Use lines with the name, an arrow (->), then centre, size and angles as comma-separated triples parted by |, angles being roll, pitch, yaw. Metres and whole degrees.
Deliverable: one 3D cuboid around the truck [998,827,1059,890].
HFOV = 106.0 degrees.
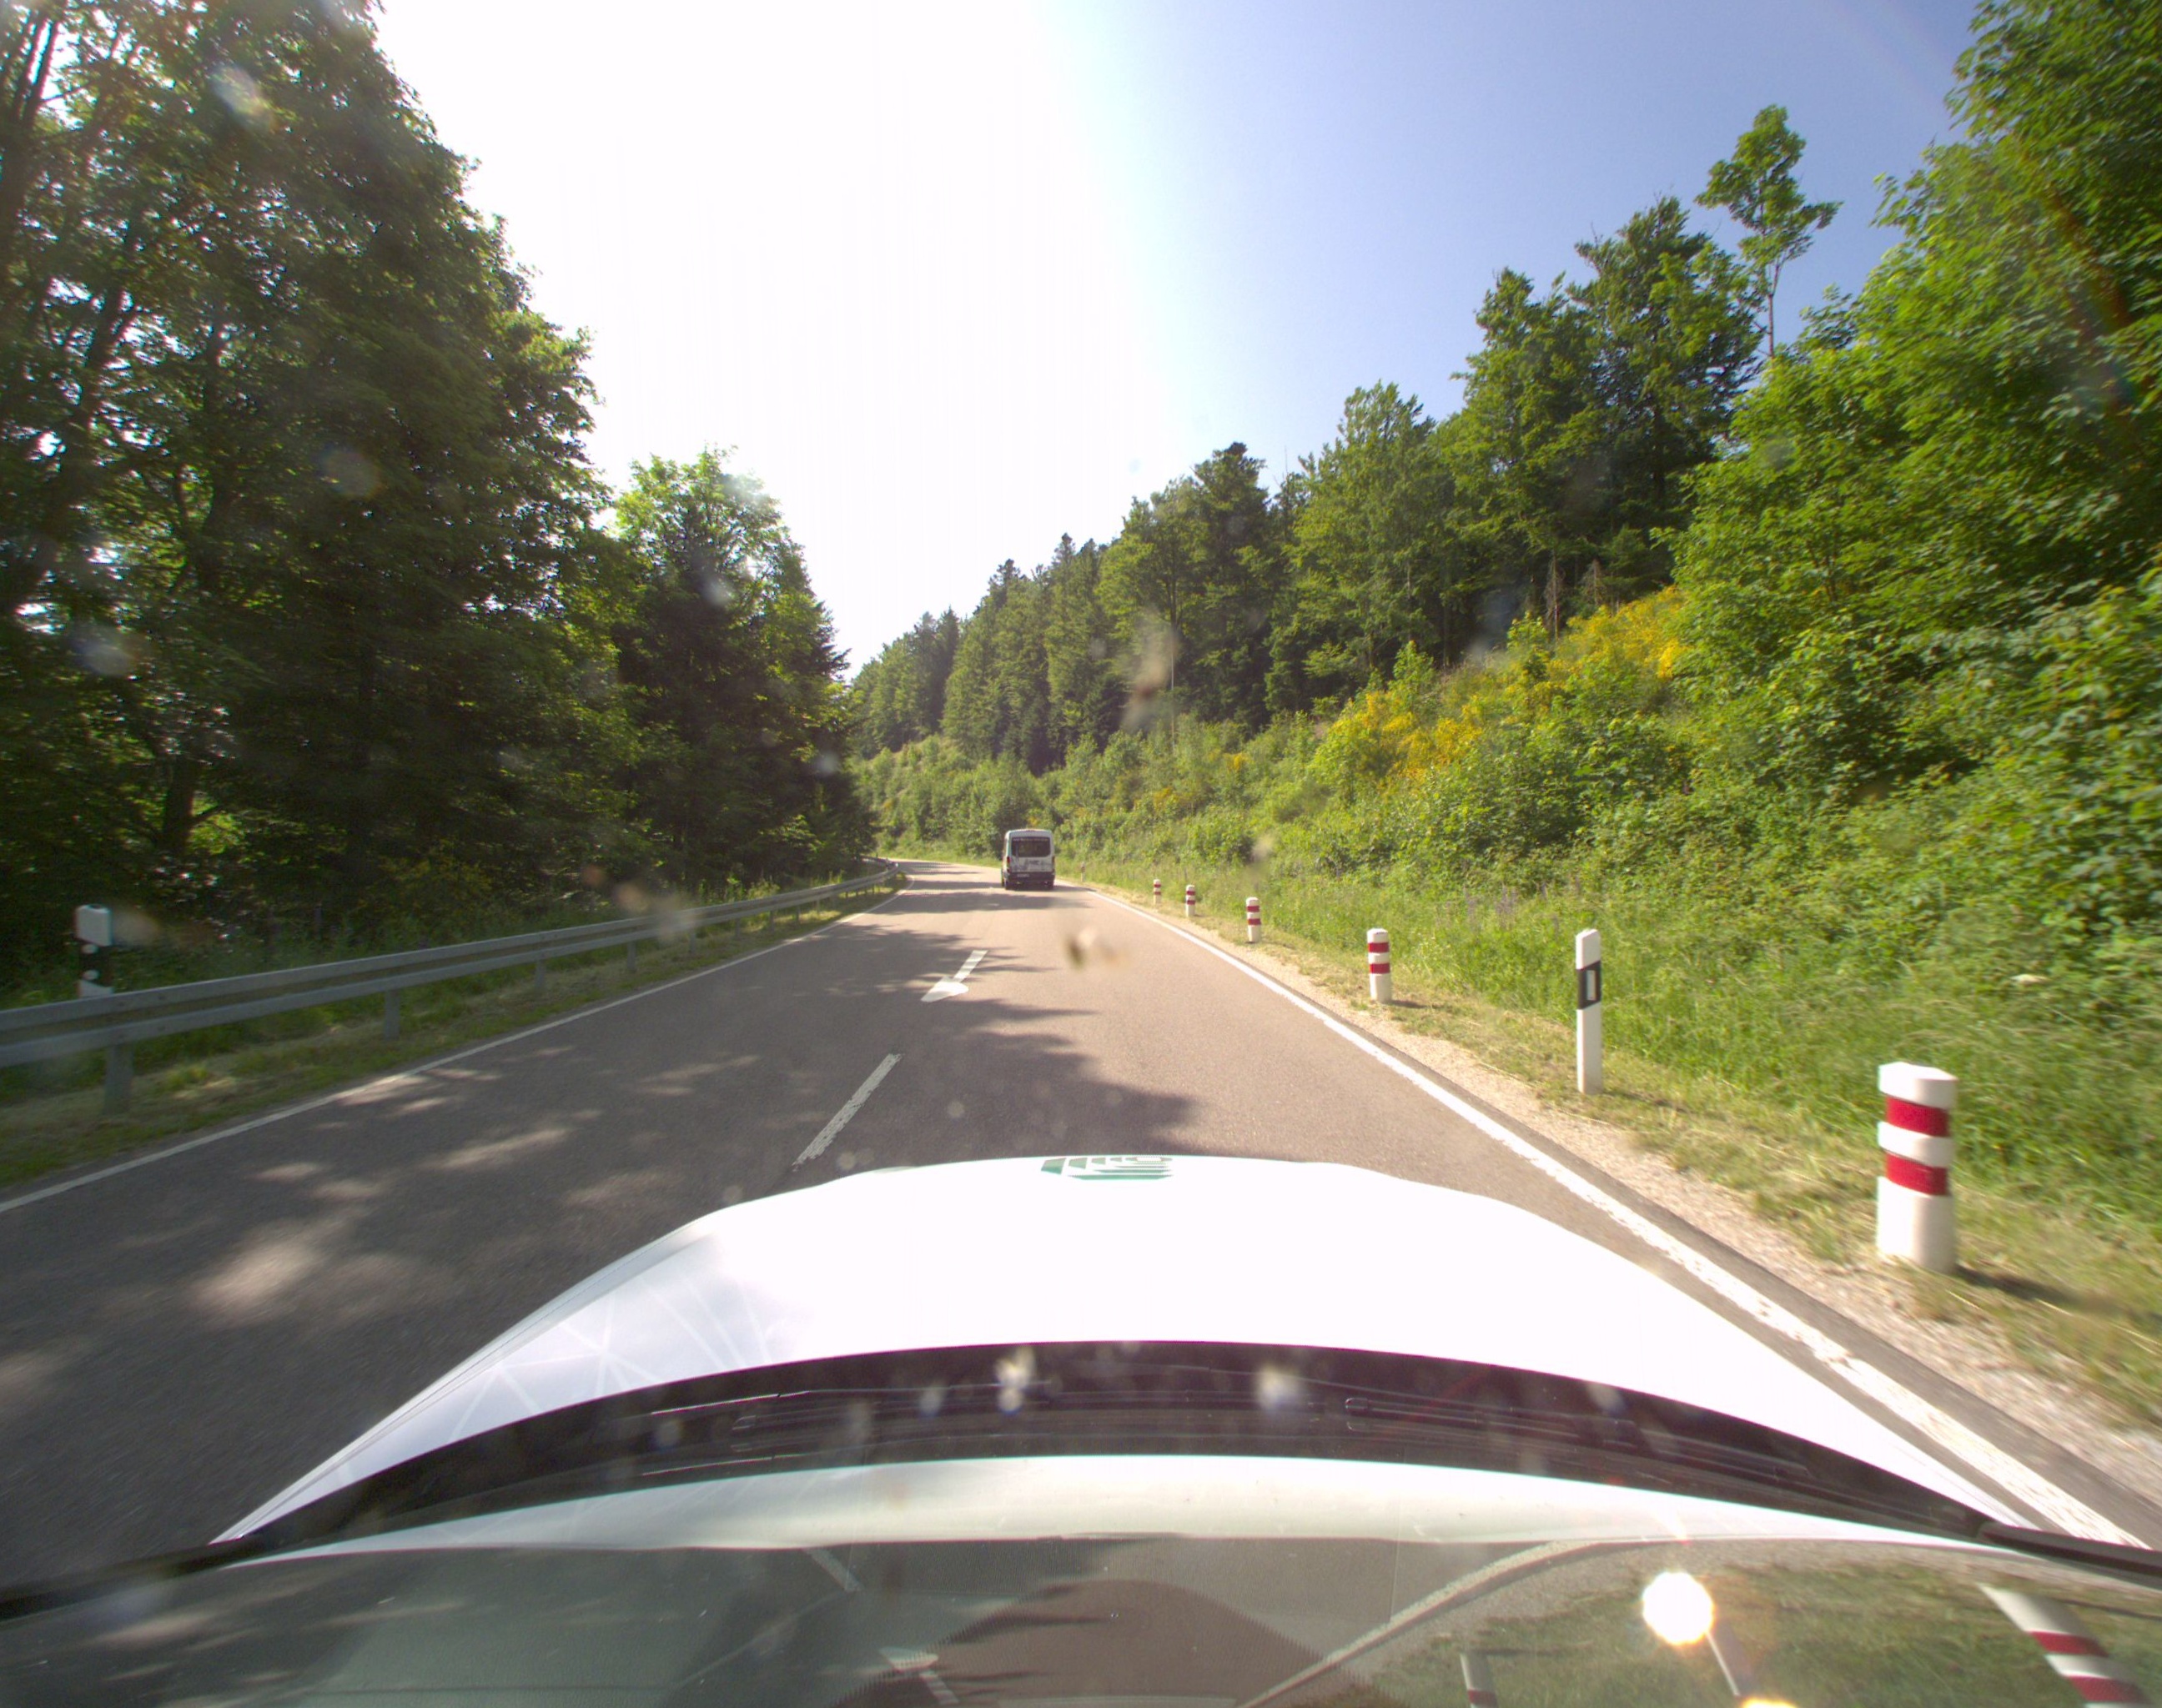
truck -> -2.359, 0.163, 35.134 | 2.115, 2.498, 5.343 | -1, 0, -9
